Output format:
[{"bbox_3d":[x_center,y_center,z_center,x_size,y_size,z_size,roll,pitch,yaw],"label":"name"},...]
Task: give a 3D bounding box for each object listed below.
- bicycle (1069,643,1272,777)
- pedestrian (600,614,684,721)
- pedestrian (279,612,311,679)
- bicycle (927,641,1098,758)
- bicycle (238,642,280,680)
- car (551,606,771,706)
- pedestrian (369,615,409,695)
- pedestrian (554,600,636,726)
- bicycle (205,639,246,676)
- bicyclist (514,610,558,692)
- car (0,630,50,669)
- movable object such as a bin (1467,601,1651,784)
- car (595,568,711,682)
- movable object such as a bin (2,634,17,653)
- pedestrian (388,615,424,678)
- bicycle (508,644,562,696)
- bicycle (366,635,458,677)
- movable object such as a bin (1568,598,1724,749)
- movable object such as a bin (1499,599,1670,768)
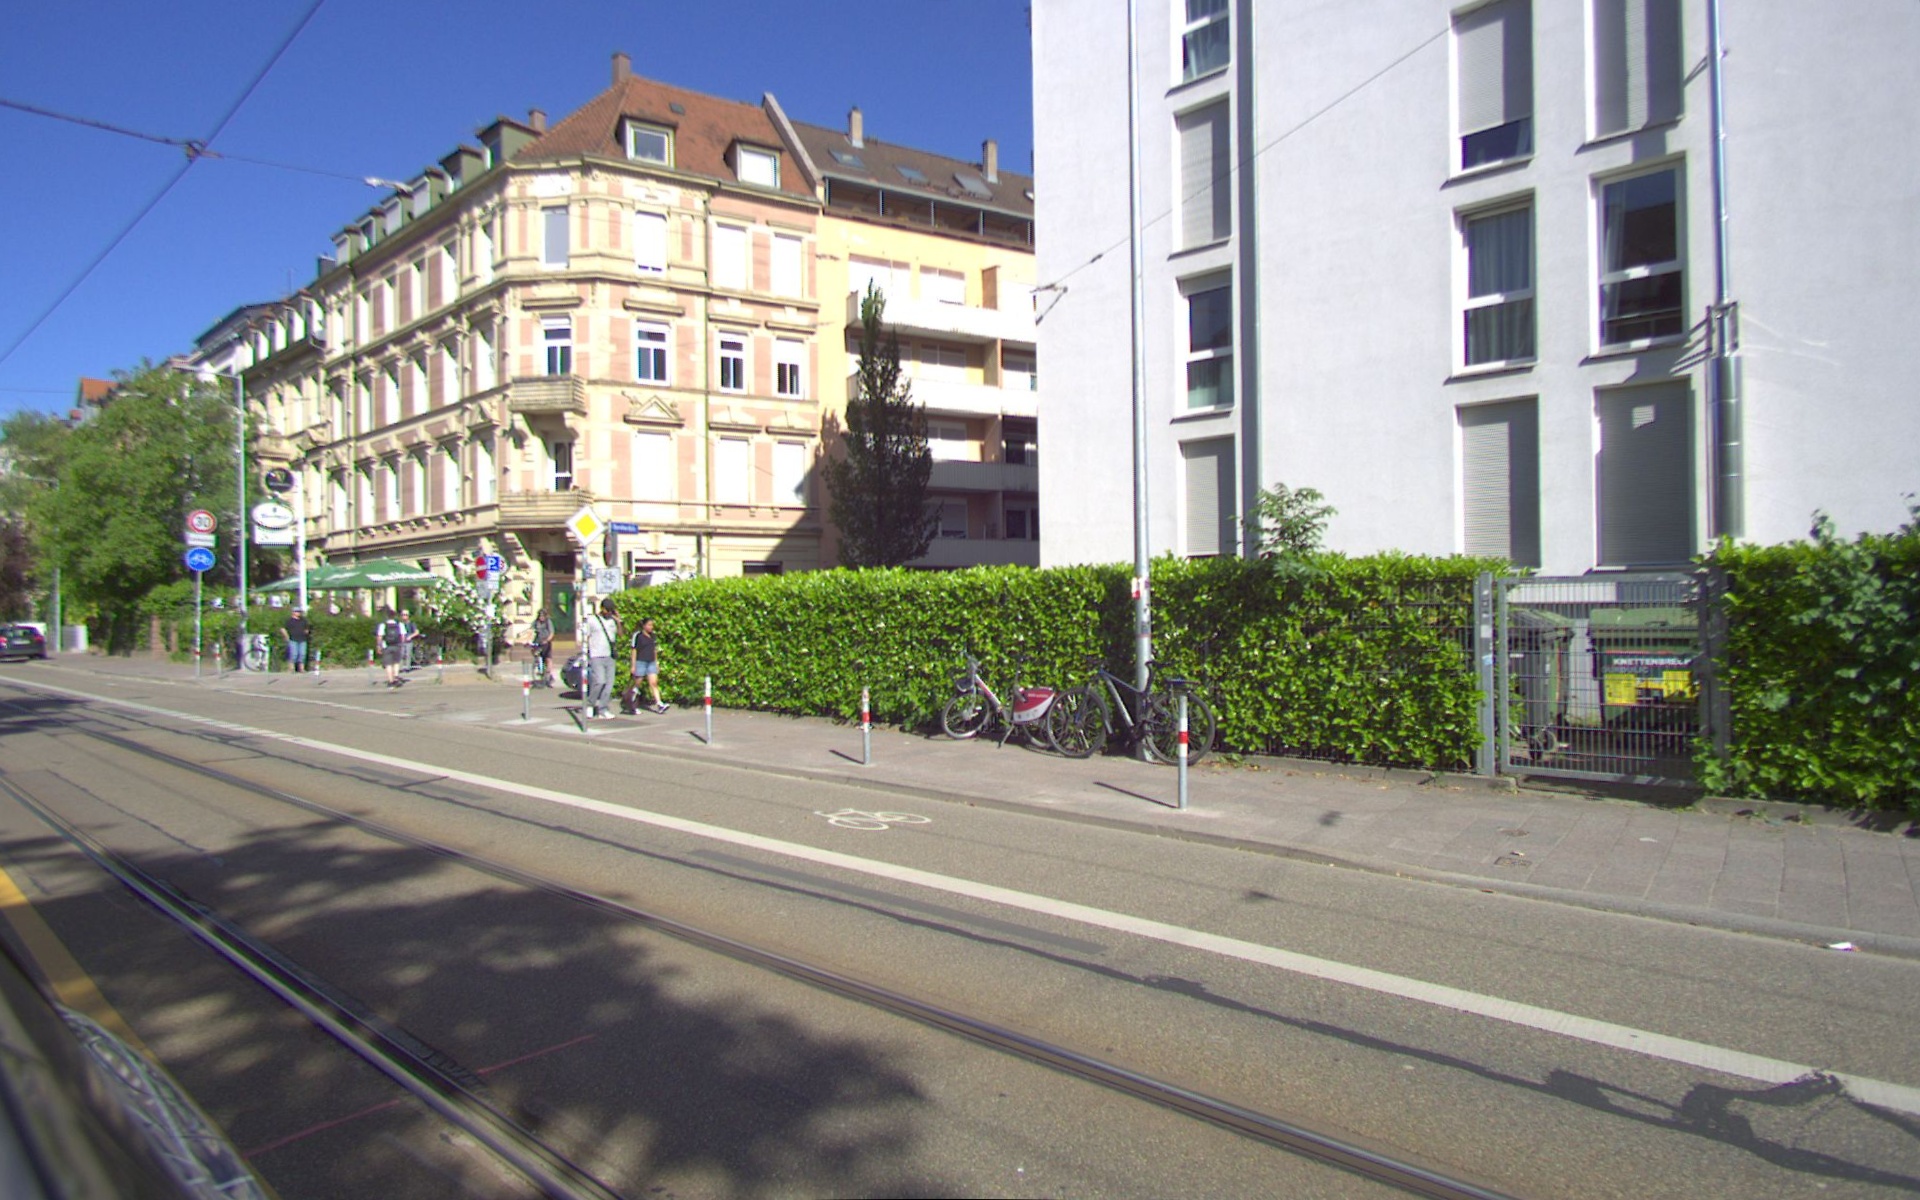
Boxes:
[{"bbox_3d":[2.024,1.022,9.896,1.839,1.097,0.654,0,3,41],"label":"bicycle"},{"bbox_3d":[-4.710,0.977,15.008,0.956,1.489,0.747,-2,1,41],"label":"pedestrian"},{"bbox_3d":[-18.078,1.221,27.509,0.538,1.795,0.552,-1,0,37],"label":"pedestrian"},{"bbox_3d":[0.547,1.052,11.148,1.839,1.097,0.654,0,3,41],"label":"bicycle"},{"bbox_3d":[-19.497,1.677,28.138,1.776,0.988,0.522,-2,-1,41],"label":"bicycle"},{"bbox_3d":[-6.061,1.046,20.570,3.984,1.820,1.797,0,0,-29],"label":"car"},{"bbox_3d":[-13.175,1.247,23.353,0.682,1.781,0.868,-1,-1,-37],"label":"pedestrian"},{"bbox_3d":[-5.266,0.880,14.609,0.808,1.726,0.747,-2,1,41],"label":"pedestrian"},{"bbox_3d":[-22.320,1.737,30.753,2.221,1.046,0.508,-1,-1,41],"label":"bicycle"},{"bbox_3d":[-9.938,1.175,23.738,0.696,1.867,0.987,0,0,-7],"label":"bicyclist"},{"bbox_3d":[-40.467,2.076,43.156,4.585,1.588,1.845,-1,-2,40],"label":"car"},{"bbox_3d":[5.216,0.758,8.824,1.257,1.467,0.799,-2,-2,39],"label":"movable object such as a bin"},{"bbox_3d":[-8.607,0.619,28.087,1.861,2.862,4.797,0,0,-33],"label":"car"},{"bbox_3d":[-59.246,2.717,63.088,0.664,1.184,0.583,-2,-1,36],"label":"movable object such as a bin"},{"bbox_3d":[-14.960,1.240,27.331,0.694,1.667,0.835,0,0,-18],"label":"pedestrian"},{"bbox_3d":[-9.936,1.616,23.734,0.696,1.063,1.838,0,0,-7],"label":"bicycle"},{"bbox_3d":[-15.940,1.609,29.471,2.212,1.052,0.877,-1,1,-40],"label":"bicycle"},{"bbox_3d":[7.153,0.733,10.559,1.257,1.467,0.799,-2,-2,39],"label":"movable object such as a bin"},{"bbox_3d":[5.867,0.740,9.523,1.257,1.467,0.799,-2,-2,39],"label":"movable object such as a bin"}]
